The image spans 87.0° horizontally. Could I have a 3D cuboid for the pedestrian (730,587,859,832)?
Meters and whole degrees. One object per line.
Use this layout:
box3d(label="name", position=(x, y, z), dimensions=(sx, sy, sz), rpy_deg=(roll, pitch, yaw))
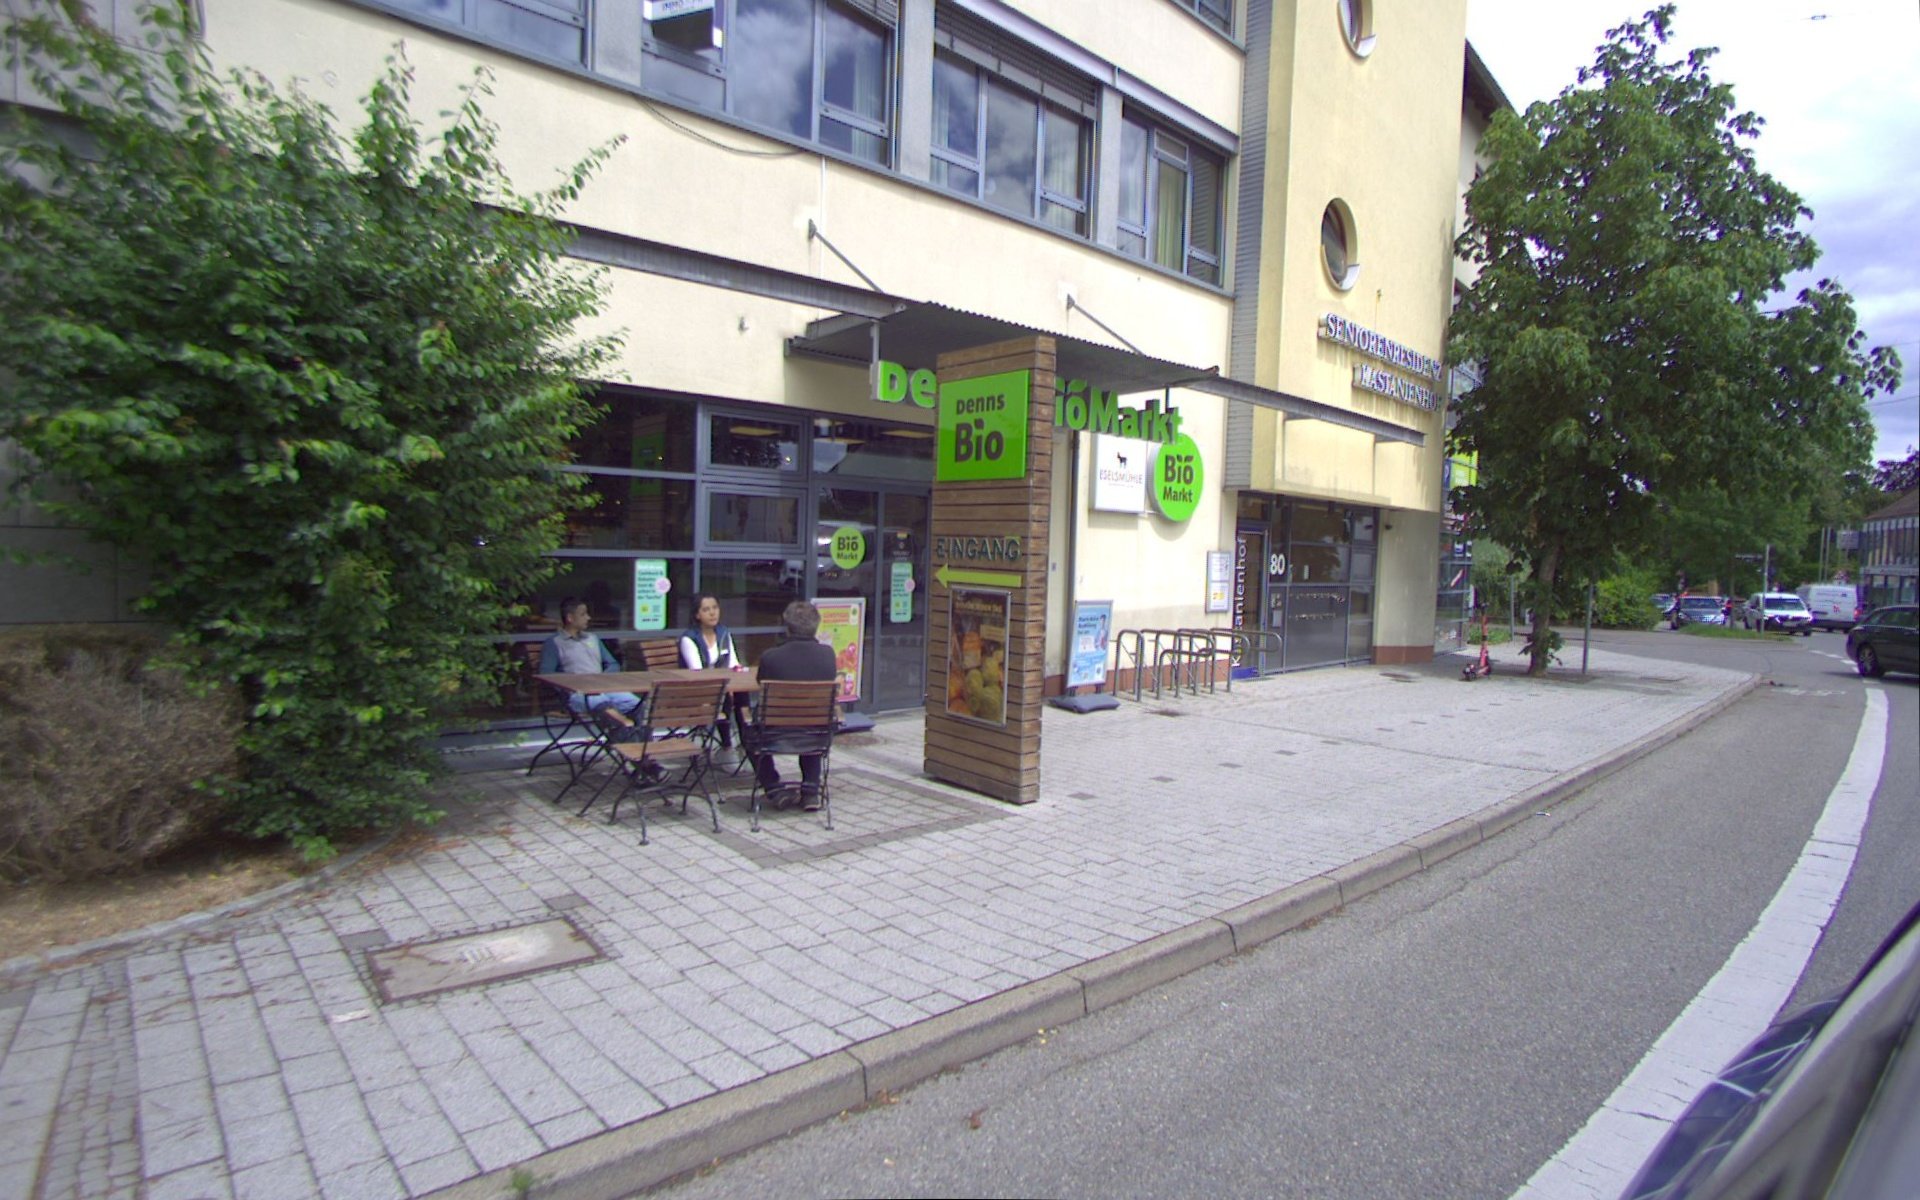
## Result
box3d(label="pedestrian", position=(-0.995, 0.600, 6.012), dimensions=(0.566, 1.332, 0.692), rpy_deg=(0, 2, -27))

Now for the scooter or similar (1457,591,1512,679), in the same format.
box3d(label="scooter or similar", position=(8.439, 0.537, 16.268), dimensions=(0.381, 1.332, 1.436), rpy_deg=(3, 3, 43))

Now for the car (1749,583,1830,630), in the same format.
box3d(label="car", position=(36.034, 0.213, 44.083), dimensions=(1.950, 1.829, 4.384), rpy_deg=(1, 3, 29))

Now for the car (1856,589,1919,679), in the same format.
box3d(label="car", position=(18.393, 0.632, 18.040), dimensions=(1.785, 1.649, 4.662), rpy_deg=(0, 0, 17))

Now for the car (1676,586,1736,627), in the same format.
box3d(label="car", position=(33.673, 0.284, 45.792), dimensions=(1.682, 1.687, 4.412), rpy_deg=(4, 2, 31))

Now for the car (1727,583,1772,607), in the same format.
box3d(label="car", position=(56.545, -0.385, 72.552), dimensions=(1.766, 1.541, 4.418), rpy_deg=(4, 3, 28))

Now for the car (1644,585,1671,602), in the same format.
box3d(label="car", position=(76.172, -0.703, 110.543), dimensions=(1.856, 1.637, 4.488), rpy_deg=(4, 2, 29))

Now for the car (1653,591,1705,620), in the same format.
box3d(label="car", position=(43.180, 0.293, 60.884), dimensions=(1.974, 1.465, 4.703), rpy_deg=(4, 3, 29))

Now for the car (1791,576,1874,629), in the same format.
box3d(label="car", position=(44.605, 0.076, 51.881), dimensions=(2.053, 2.381, 5.129), rpy_deg=(6, 4, 29))

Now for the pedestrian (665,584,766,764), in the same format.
box3d(label="pedestrian", position=(-1.776, 0.503, 7.341), dimensions=(0.495, 1.218, 0.577), rpy_deg=(-1, 3, -43))

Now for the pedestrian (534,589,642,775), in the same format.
box3d(label="pedestrian", position=(-2.563, 0.532, 6.974), dimensions=(0.520, 1.196, 0.495), rpy_deg=(2, 2, 36))

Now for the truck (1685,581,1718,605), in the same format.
box3d(label="truck", position=(83.145, -0.843, 113.582), dimensions=(2.295, 2.449, 6.029), rpy_deg=(2, 3, 30))

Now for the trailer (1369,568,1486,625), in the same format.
box3d(label="trailer", position=(15.457, -0.146, 33.519), dimensions=(3.161, 1.601, 1.371), rpy_deg=(7, 4, 43))
